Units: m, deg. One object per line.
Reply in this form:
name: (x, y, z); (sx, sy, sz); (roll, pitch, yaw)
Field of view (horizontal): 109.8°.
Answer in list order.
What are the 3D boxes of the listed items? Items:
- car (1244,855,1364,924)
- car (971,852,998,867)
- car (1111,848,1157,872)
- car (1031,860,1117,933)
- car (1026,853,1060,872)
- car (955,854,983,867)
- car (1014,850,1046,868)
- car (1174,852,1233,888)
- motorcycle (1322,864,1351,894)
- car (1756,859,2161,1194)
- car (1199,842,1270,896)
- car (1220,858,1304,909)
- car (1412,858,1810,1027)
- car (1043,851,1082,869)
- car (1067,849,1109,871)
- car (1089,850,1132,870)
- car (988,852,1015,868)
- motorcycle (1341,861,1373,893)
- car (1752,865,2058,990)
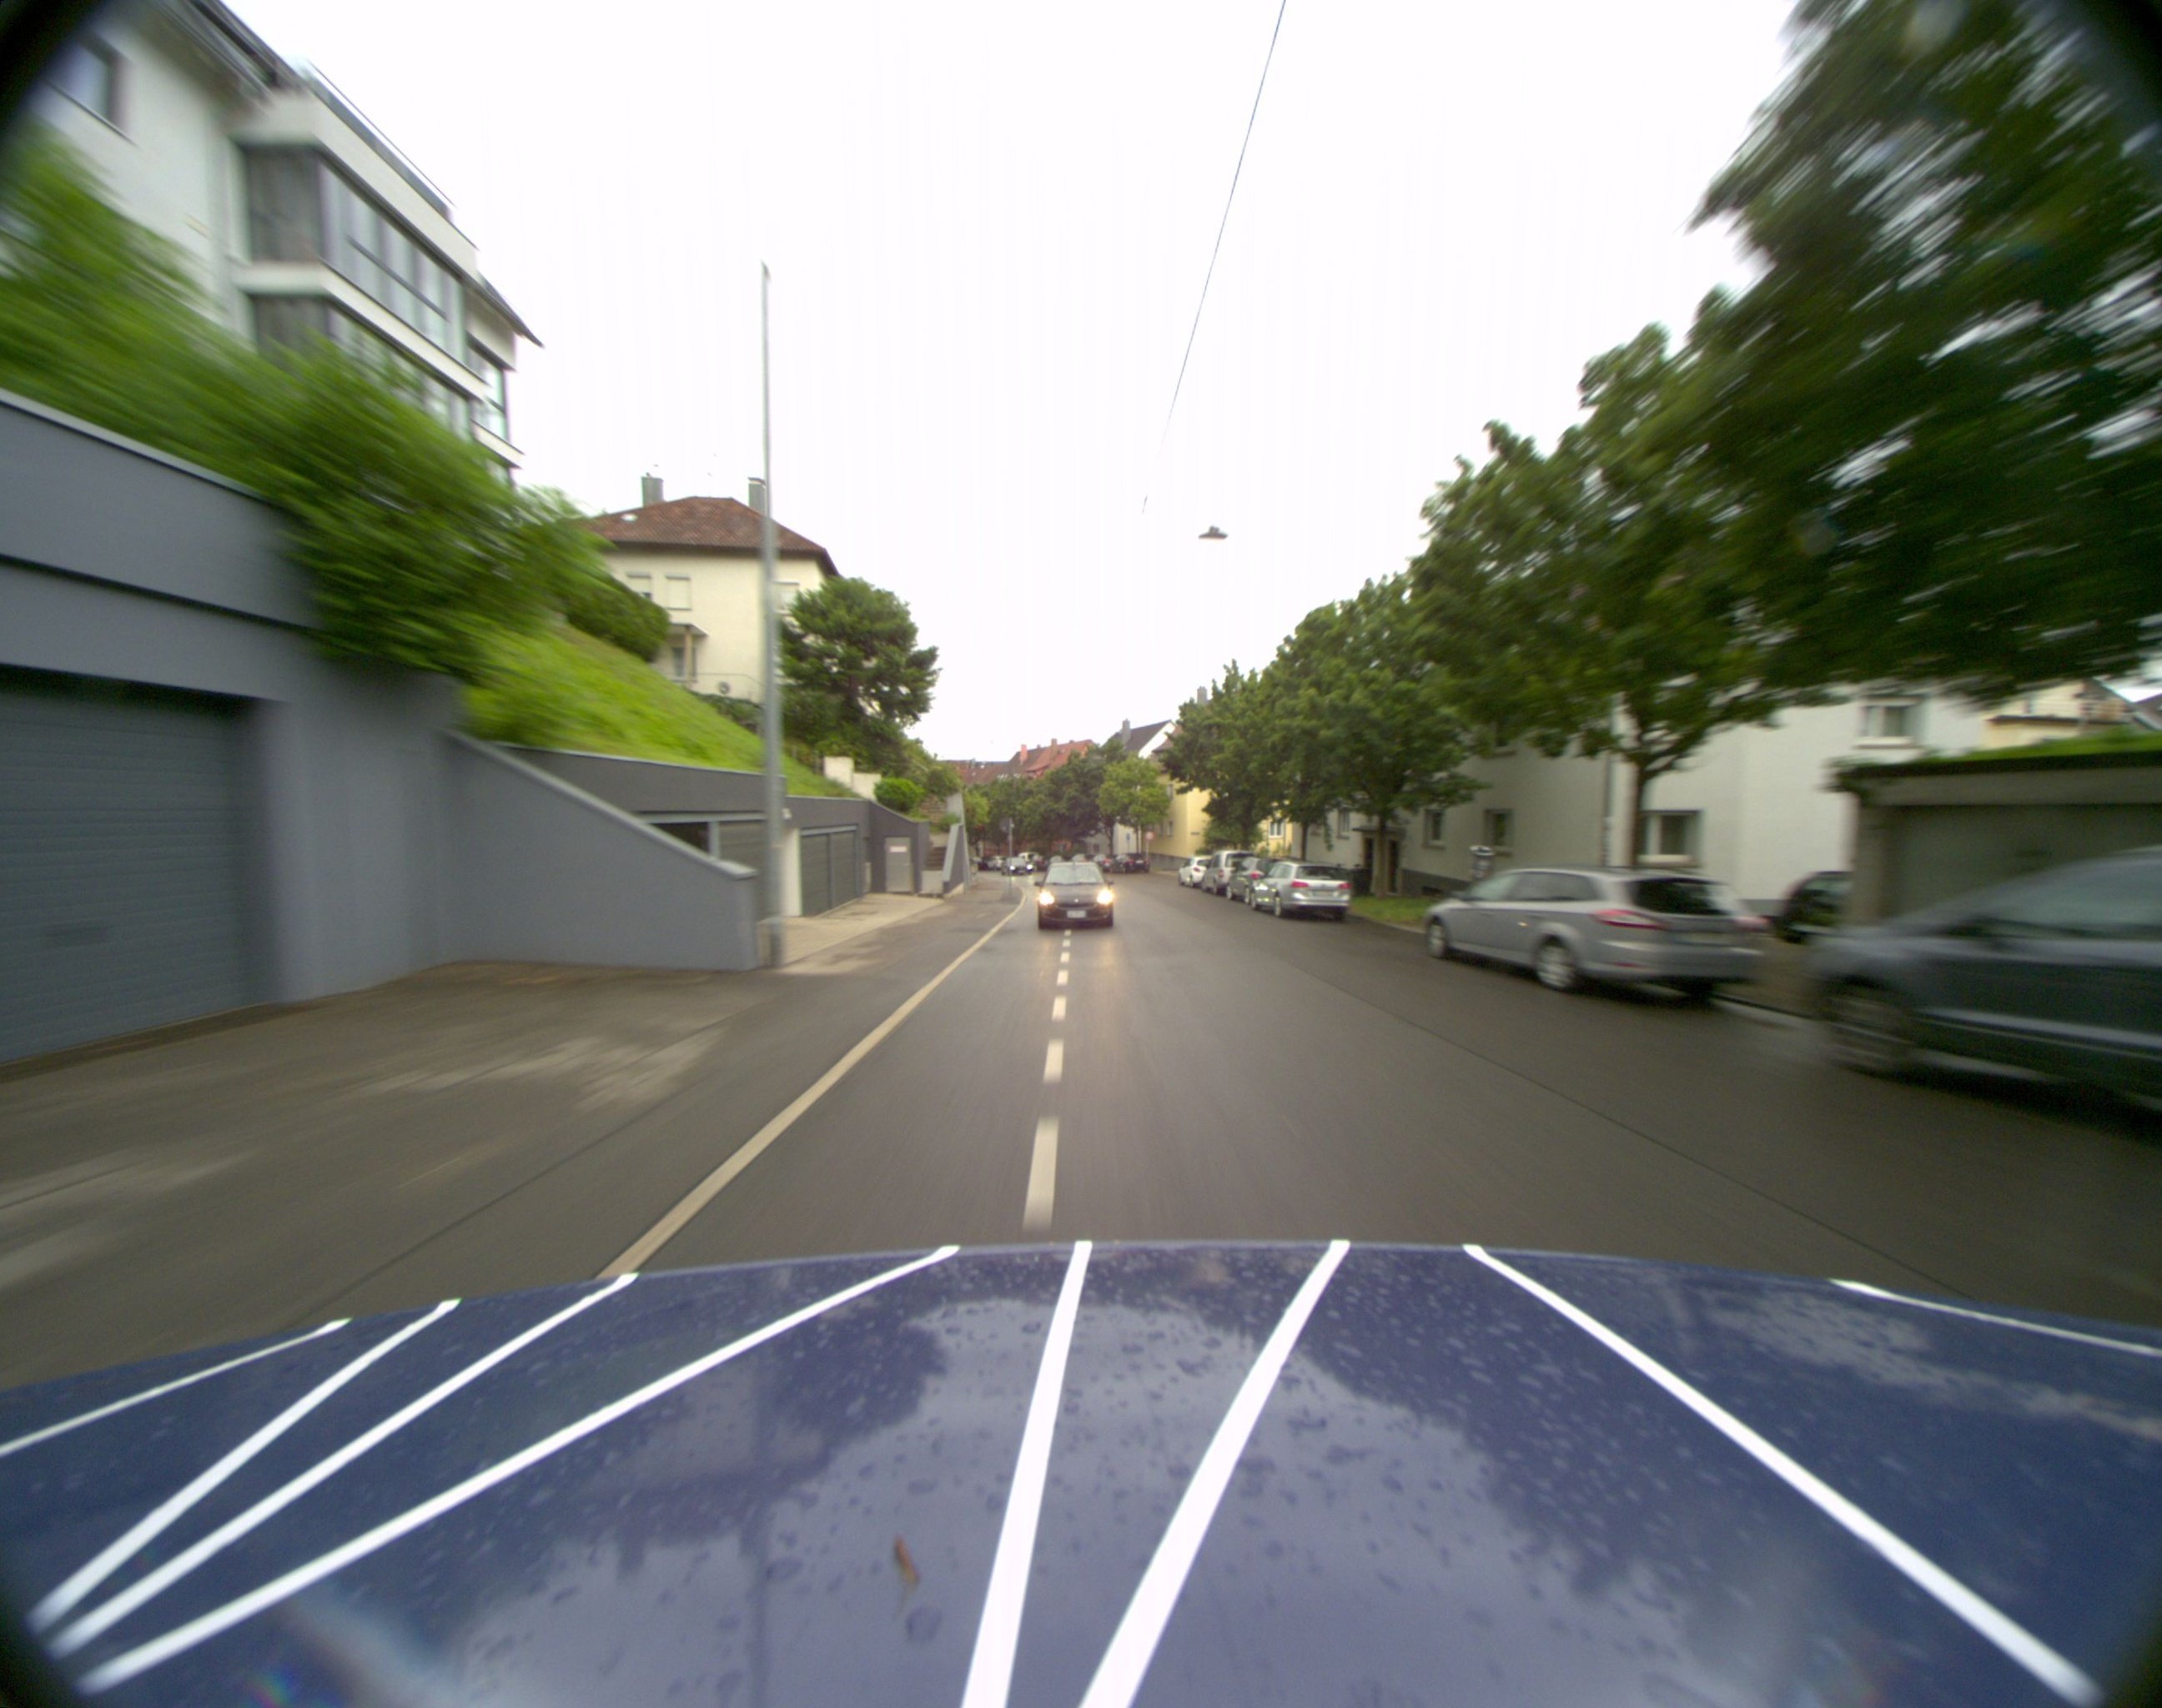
car: (5.901, 0.864, 20.704); (1.809, 1.445, 4.594); (-2, 2, -1)
car: (-11.665, 0.683, 91.902); (1.795, 1.632, 4.470); (-3, 1, -27)
car: (3.667, 0.373, 53.514); (1.782, 1.531, 4.510); (-3, 1, -15)
car: (-0.065, 0.912, 18.074); (1.697, 1.456, 4.001); (-1, 1, 4)
car: (-3.718, 0.813, 73.269); (1.861, 1.658, 4.579); (-3, 1, -21)
car: (-14.307, 0.835, 96.970); (1.796, 1.484, 4.351); (-3, 1, -32)
car: (-5.321, 0.511, 78.908); (1.862, 1.766, 4.474); (-3, 1, -22)
car: (6.028, 0.750, 37.900); (1.790, 1.506, 4.342); (1, 2, -6)
motorcycle: (9.692, 0.933, 28.877); (0.431, 1.114, 1.619); (0, 0, -5)
car: (6.405, 0.902, 4.115); (1.809, 1.617, 4.138); (-2, 1, 0)
car: (6.322, 0.548, 31.804); (1.919, 1.990, 4.546); (1, 2, -1)
car: (6.276, 0.976, 26.821); (1.809, 1.477, 4.233); (1, 2, -2)
car: (6.355, 0.905, 10.017); (1.809, 1.543, 4.798); (2, 1, -1)
car: (-1.733, 0.522, 68.954); (1.862, 1.490, 4.731); (-3, 1, -24)
car: (0.529, 0.496, 62.114); (1.862, 1.680, 4.547); (-1, 0, -21)
car: (2.183, 0.467, 57.658); (1.620, 1.388, 4.315); (-2, 1, -21)
car: (-9.160, 0.653, 86.888); (1.754, 1.680, 4.591); (-3, 1, -23)
motorcycle: (9.882, 0.817, 27.247); (0.412, 1.092, 1.619); (0, 0, -5)
car: (14.713, 1.274, 13.691); (3.704, 1.534, 1.797); (9, -1, -7)
